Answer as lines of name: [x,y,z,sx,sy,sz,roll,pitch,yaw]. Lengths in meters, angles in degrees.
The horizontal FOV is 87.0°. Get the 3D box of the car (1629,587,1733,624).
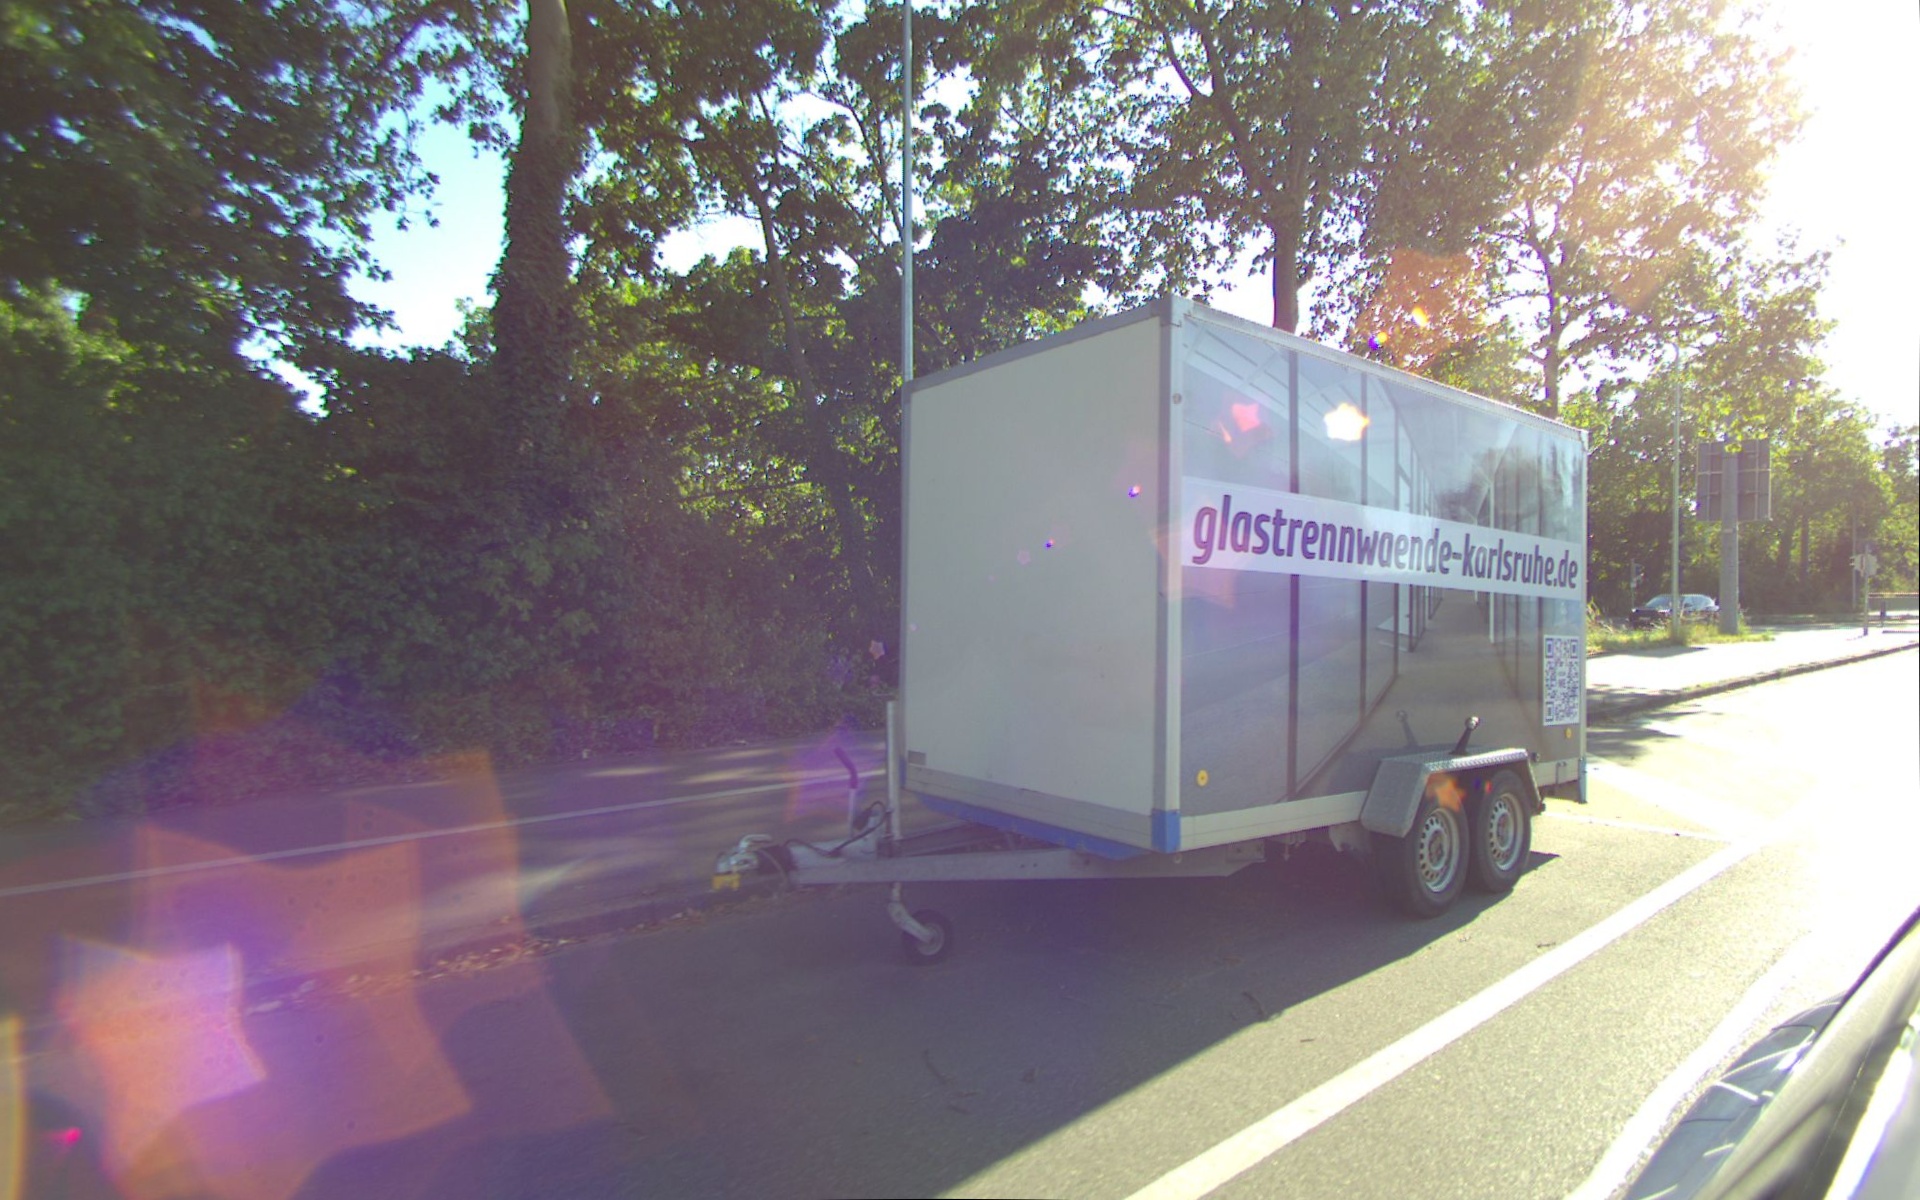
car: [32.904,0.229,46.202,3.916,1.638,1.829,-1,0,-16]

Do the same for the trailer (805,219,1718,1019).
trailer: [2.196,0.031,6.112,5.836,2.729,2.257,-1,0,-37]
